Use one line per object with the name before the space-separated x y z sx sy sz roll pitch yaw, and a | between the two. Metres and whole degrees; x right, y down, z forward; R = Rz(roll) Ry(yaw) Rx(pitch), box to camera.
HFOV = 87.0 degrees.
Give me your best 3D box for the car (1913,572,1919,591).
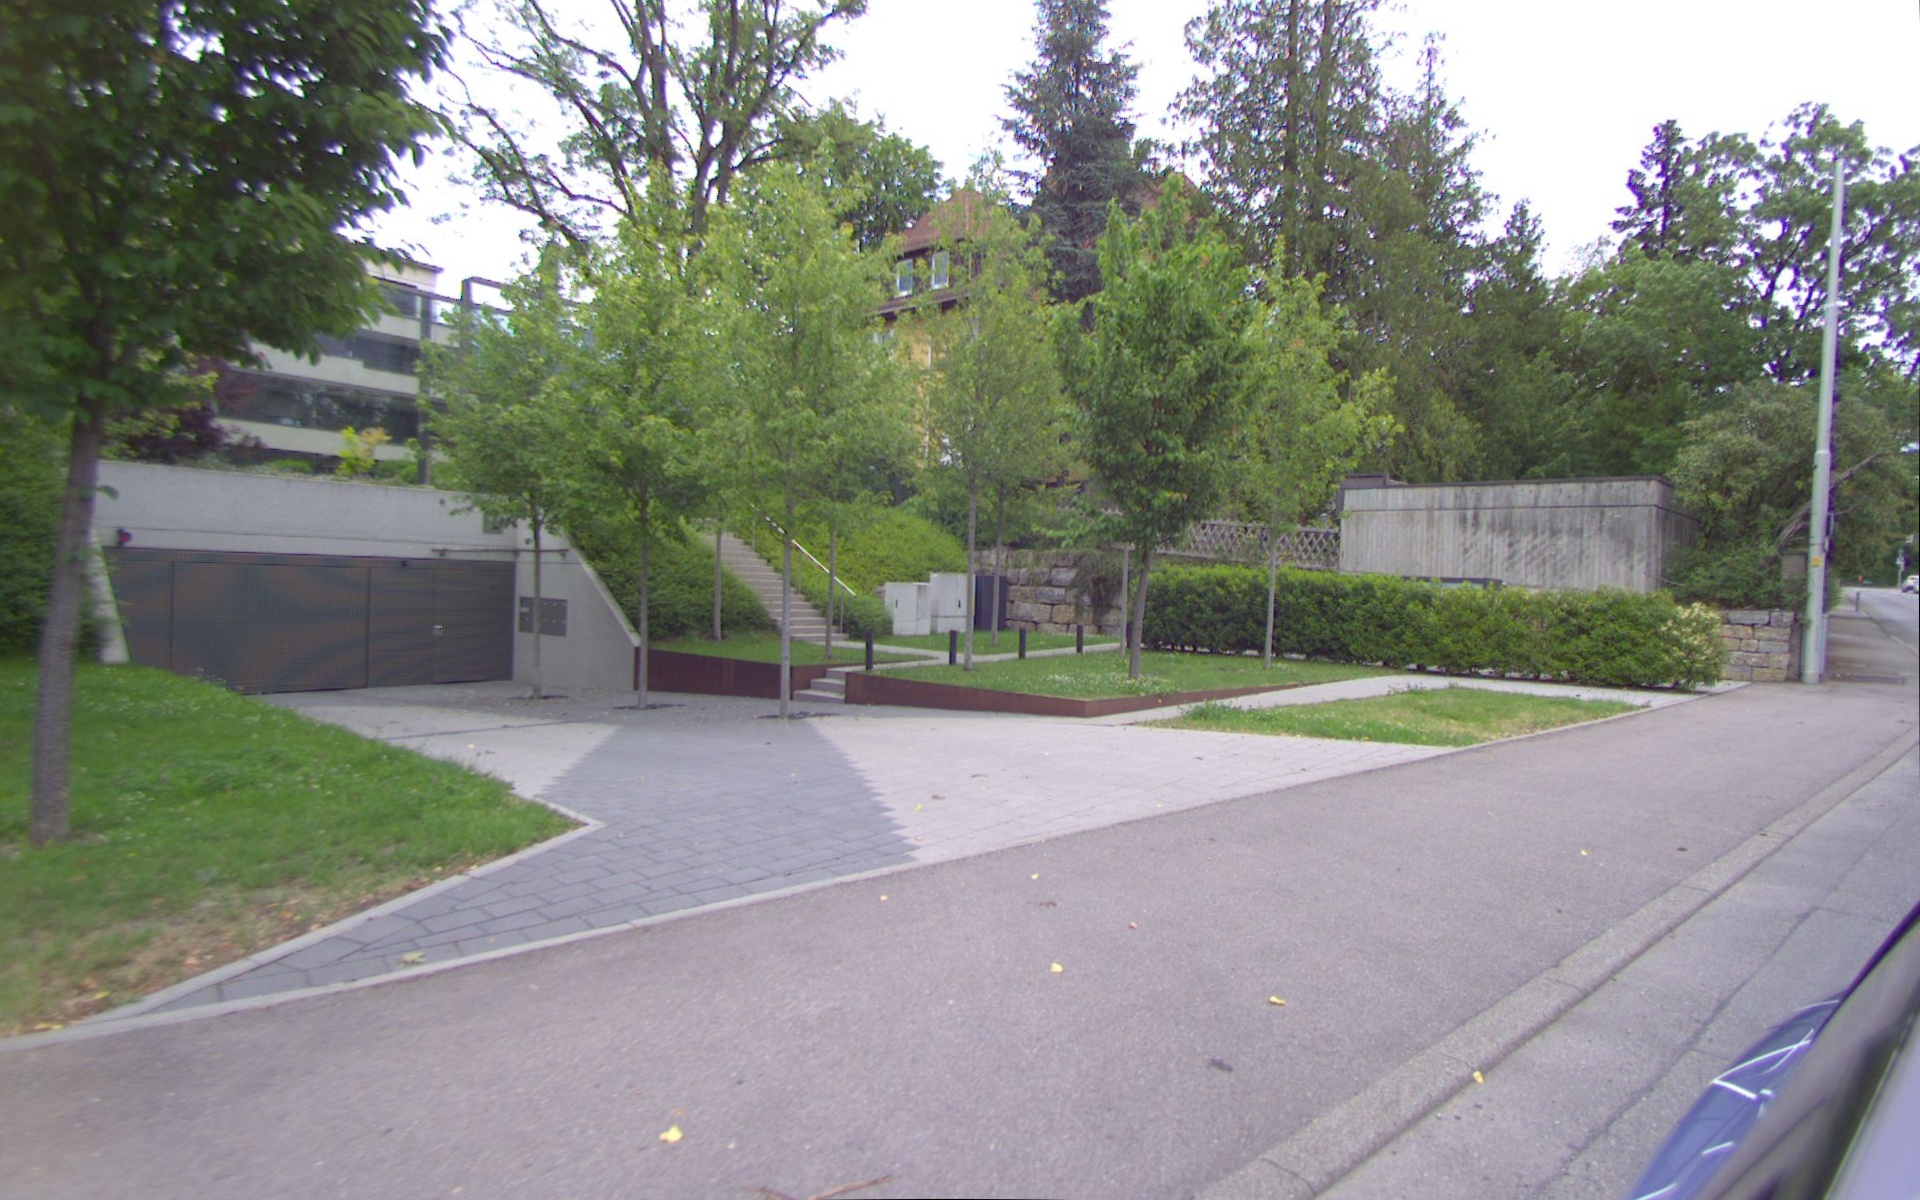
car | 92.249 -1.730 96.074 1.988 1.732 3.949 2 2 36
